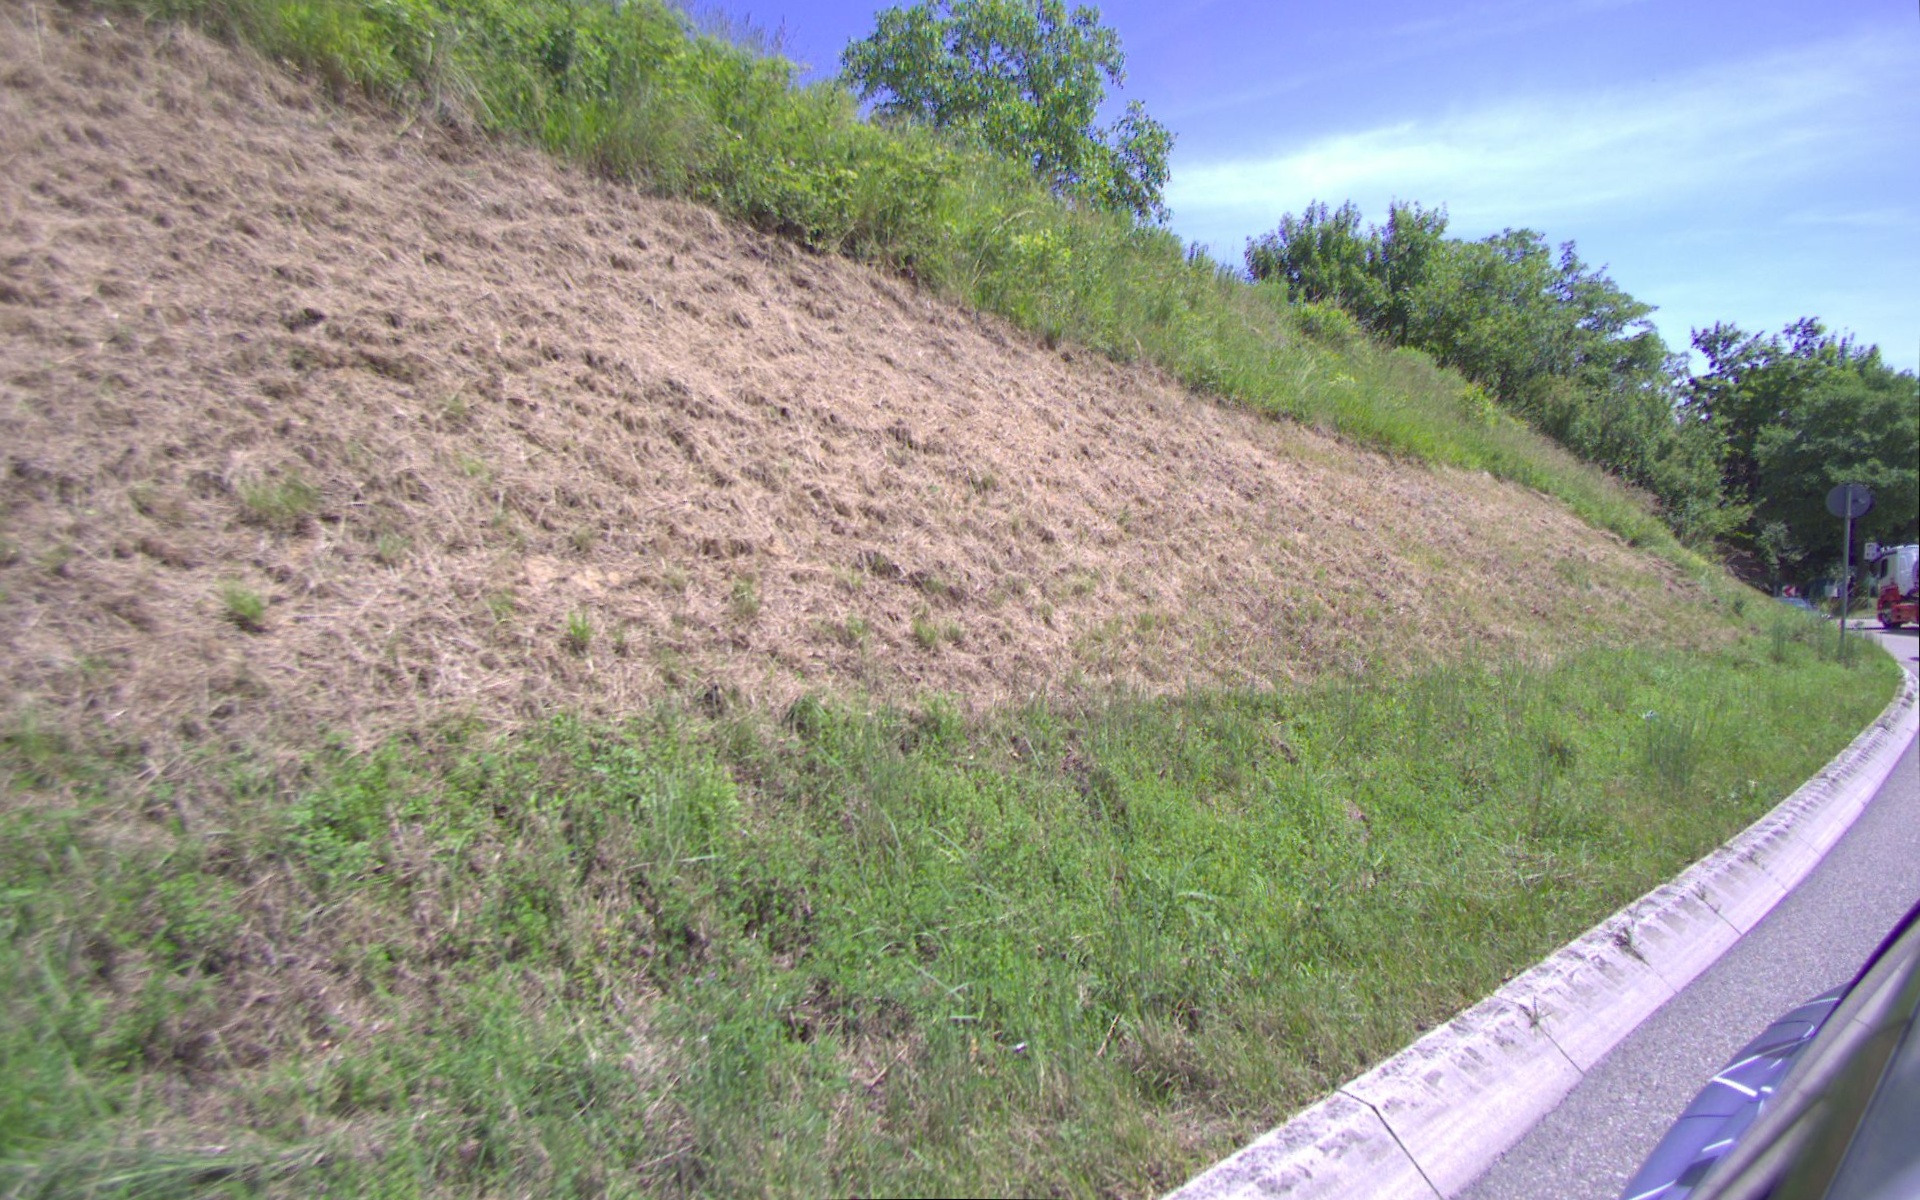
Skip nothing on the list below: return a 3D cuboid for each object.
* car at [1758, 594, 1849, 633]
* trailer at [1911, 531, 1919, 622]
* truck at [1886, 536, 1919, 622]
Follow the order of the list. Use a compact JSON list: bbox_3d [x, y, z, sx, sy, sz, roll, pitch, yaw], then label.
[{"bbox_3d":[32.818,0.497,39.497,1.738,1.304,4.110,-1,2,26],"label":"car"},{"bbox_3d":[34.742,-0.816,33.305,2.620,3.415,11.022,0,1,30],"label":"trailer"},{"bbox_3d":[37.246,-0.775,37.642,2.612,3.210,6.994,0,1,30],"label":"truck"}]
